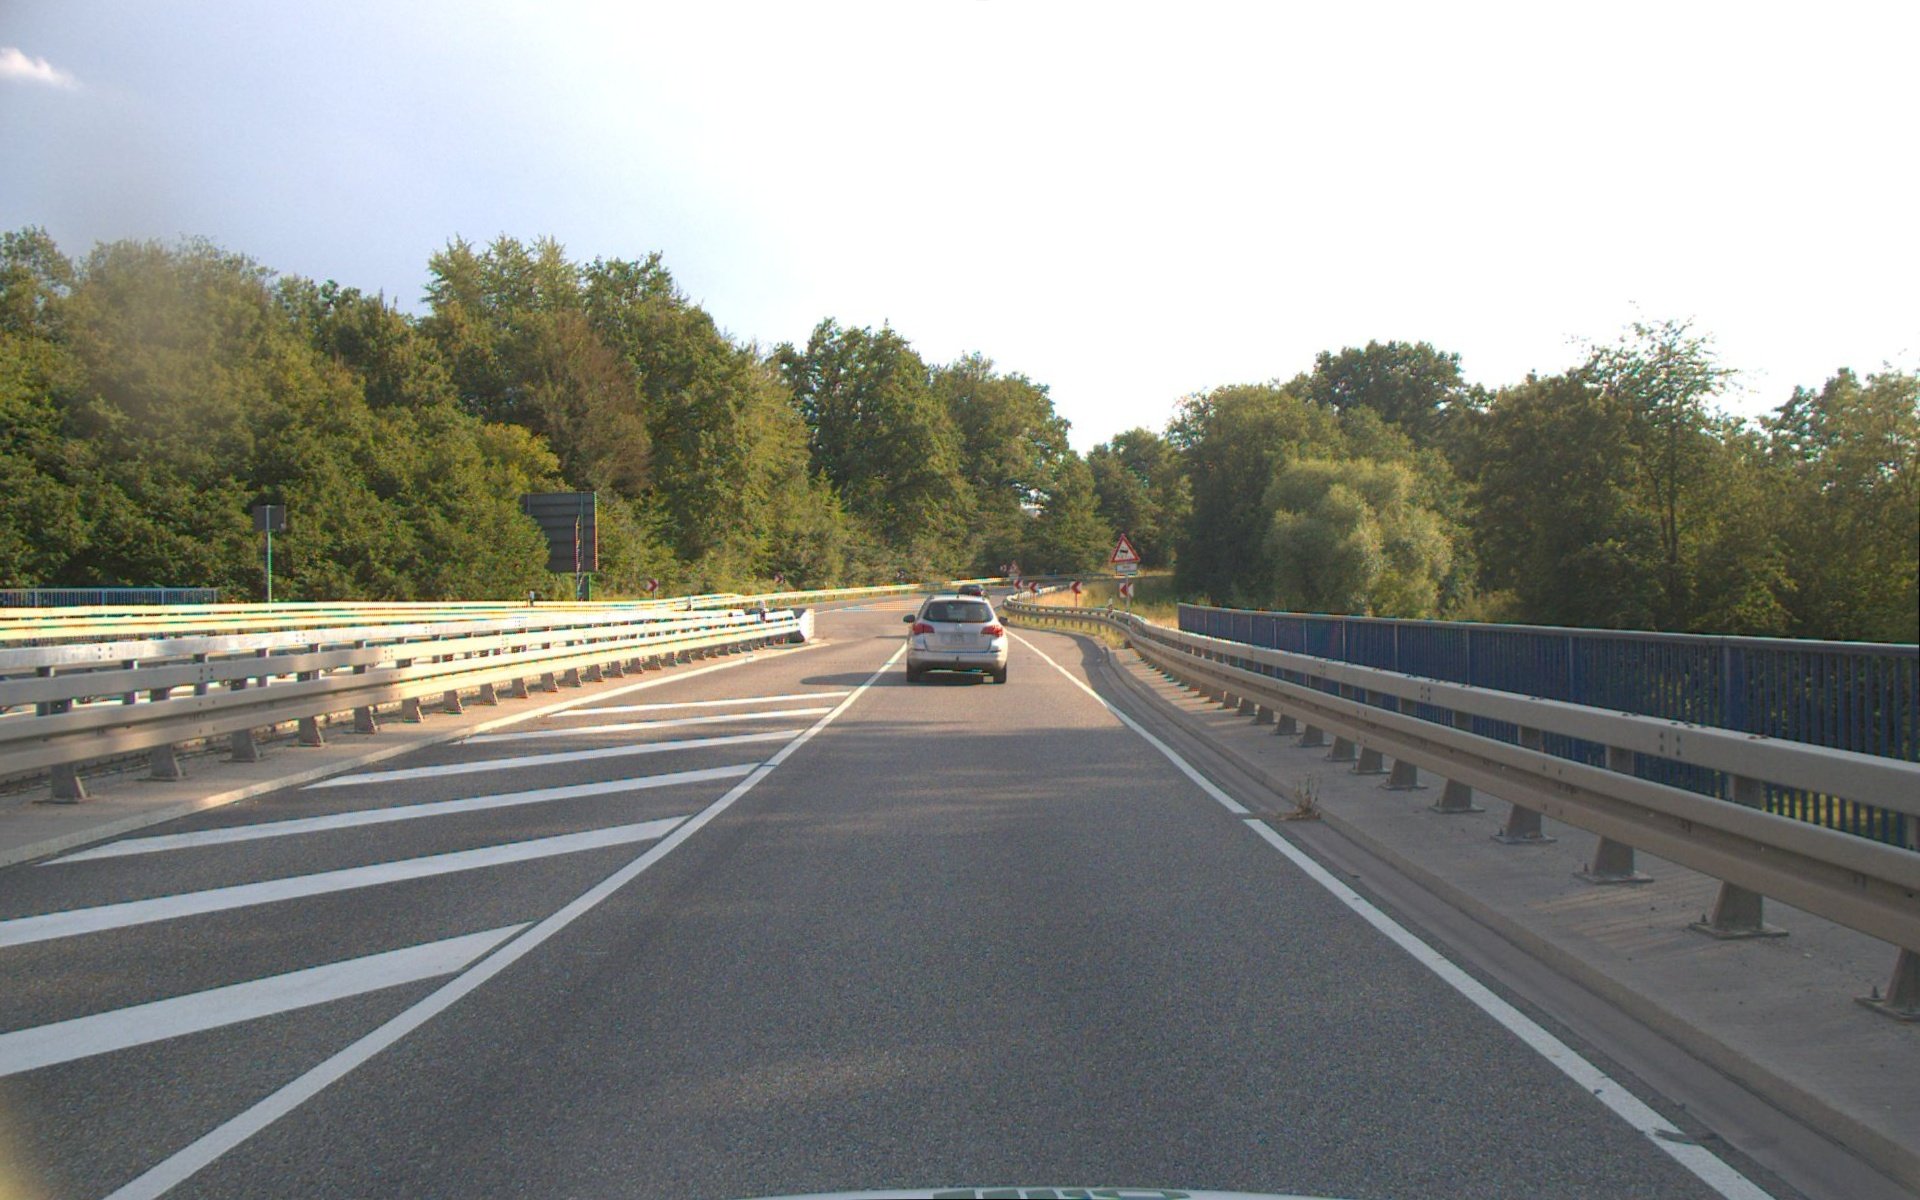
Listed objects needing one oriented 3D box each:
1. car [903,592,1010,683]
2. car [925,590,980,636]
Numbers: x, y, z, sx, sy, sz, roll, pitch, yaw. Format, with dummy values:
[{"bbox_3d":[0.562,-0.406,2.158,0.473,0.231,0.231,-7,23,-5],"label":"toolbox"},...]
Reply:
[{"bbox_3d":[-0.110,0.642,29.696,1.772,1.512,3.998,1,0,-2],"label":"car"},{"bbox_3d":[-0.301,0.435,56.434,1.772,1.512,3.998,1,0,-2],"label":"car"}]
